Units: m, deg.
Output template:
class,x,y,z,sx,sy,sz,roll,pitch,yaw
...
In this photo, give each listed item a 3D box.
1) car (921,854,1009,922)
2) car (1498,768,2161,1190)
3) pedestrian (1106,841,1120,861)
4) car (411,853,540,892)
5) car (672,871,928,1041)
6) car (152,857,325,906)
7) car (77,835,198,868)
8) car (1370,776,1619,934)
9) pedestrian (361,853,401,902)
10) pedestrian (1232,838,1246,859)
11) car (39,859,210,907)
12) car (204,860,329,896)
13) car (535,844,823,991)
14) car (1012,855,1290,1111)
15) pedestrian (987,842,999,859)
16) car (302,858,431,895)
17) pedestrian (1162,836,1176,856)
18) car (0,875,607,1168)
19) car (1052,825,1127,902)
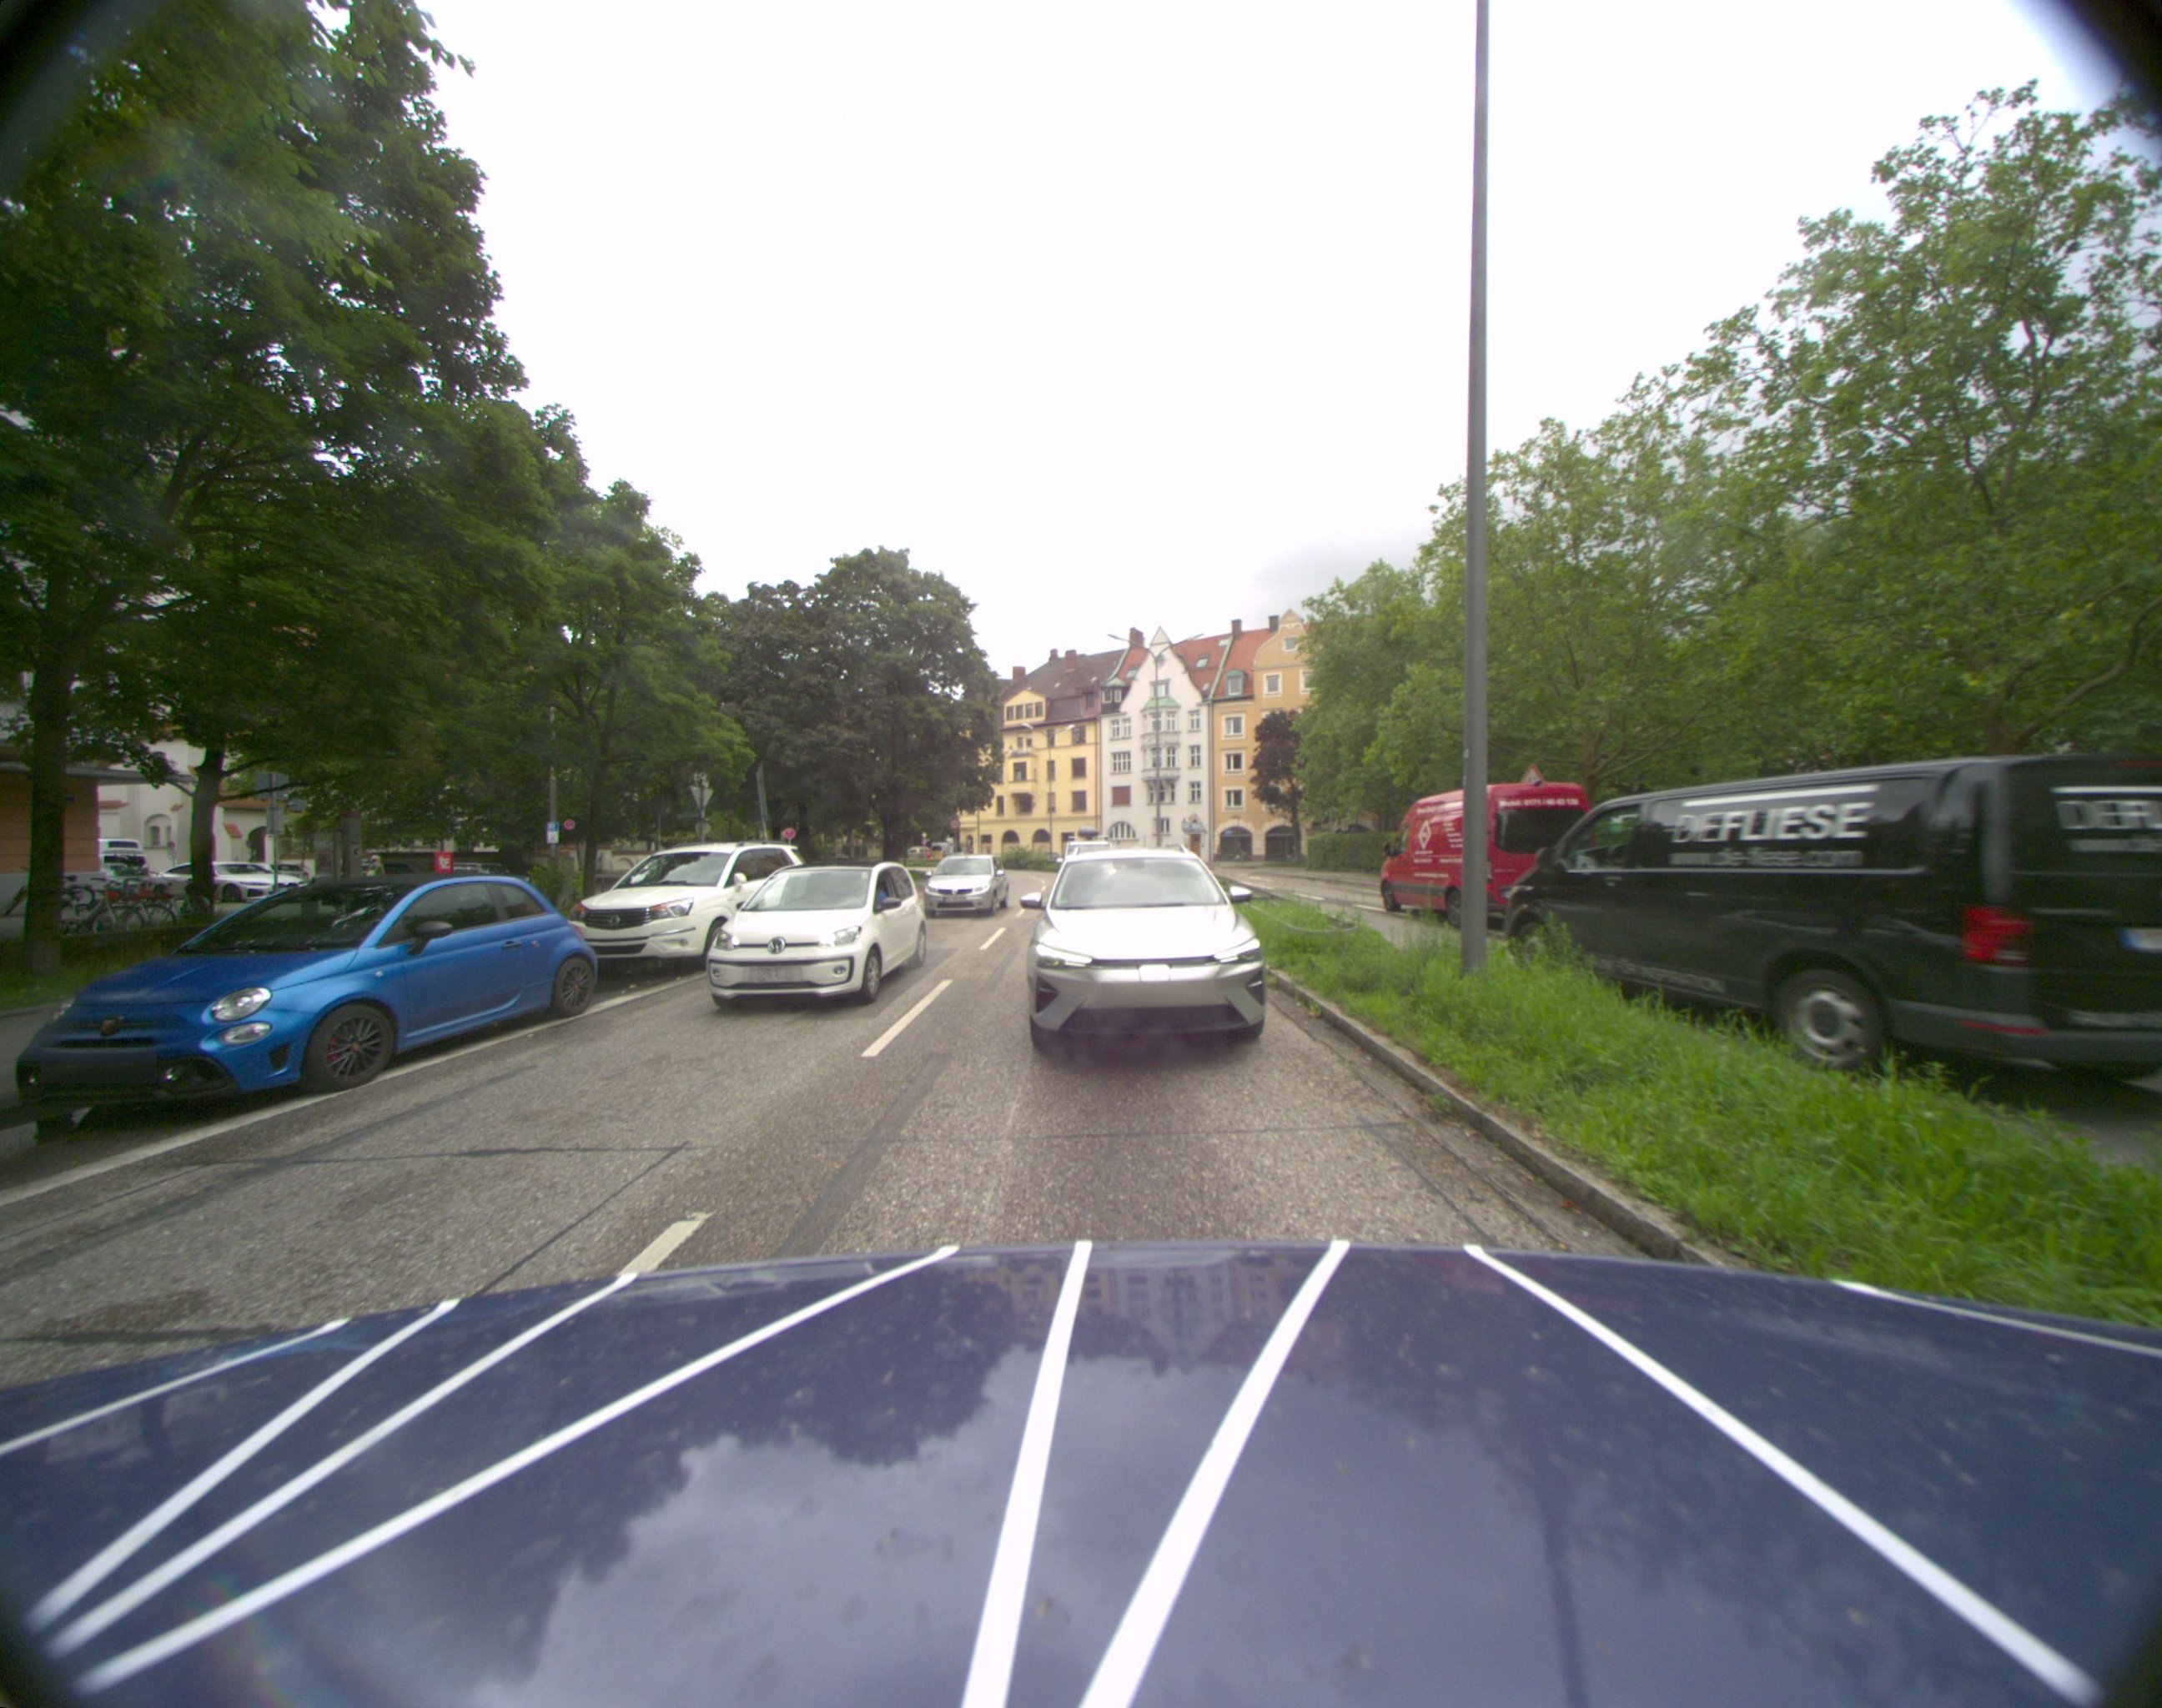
class,x,y,z,sx,sy,sz,roll,pitch,yaw
car,-2.853,0.784,19.433,1.648,1.521,3.886,0,1,0
car,5.468,0.563,5.916,1.862,1.979,4.704,0,1,0
pedestrian,3.298,-0.270,78.129,1.005,2.002,0.880,-1,2,32
car,-26.381,0.806,33.158,4.436,1.458,1.862,-2,2,10
car,-2.986,0.996,8.918,1.648,1.457,3.619,0,1,0
car,-29.038,0.946,26.242,4.436,1.458,1.862,-2,2,10
car,-47.480,-0.144,38.271,4.436,1.458,1.862,-2,2,10
car,7.926,0.044,15.498,2.108,2.574,6.083,0,0,4
pedestrian,-22.948,0.756,24.911,0.602,1.543,0.644,-2,2,7
pedestrian,15.036,-0.506,72.278,1.005,2.002,0.880,-1,2,32
car,-34.121,1.017,27.158,4.436,1.458,1.862,-2,2,10
car,-38.434,1.125,35.895,4.436,1.458,1.862,-2,2,10
car,-5.940,0.781,12.135,1.848,1.845,5.023,-1,1,1
car,0.432,0.801,6.641,1.710,1.521,3.886,0,1,0
pedestrian,-10.214,-0.397,88.069,1.005,2.002,0.880,-1,2,32
car,-32.196,1.006,34.283,4.436,1.458,1.862,-2,2,10
pedestrian,8.767,-0.794,75.760,1.005,2.002,0.880,-1,2,32
car,-5.806,1.018,6.192,1.523,1.540,3.662,-1,1,1
car,0.401,0.266,25.589,1.911,2.337,4.947,0,1,8
